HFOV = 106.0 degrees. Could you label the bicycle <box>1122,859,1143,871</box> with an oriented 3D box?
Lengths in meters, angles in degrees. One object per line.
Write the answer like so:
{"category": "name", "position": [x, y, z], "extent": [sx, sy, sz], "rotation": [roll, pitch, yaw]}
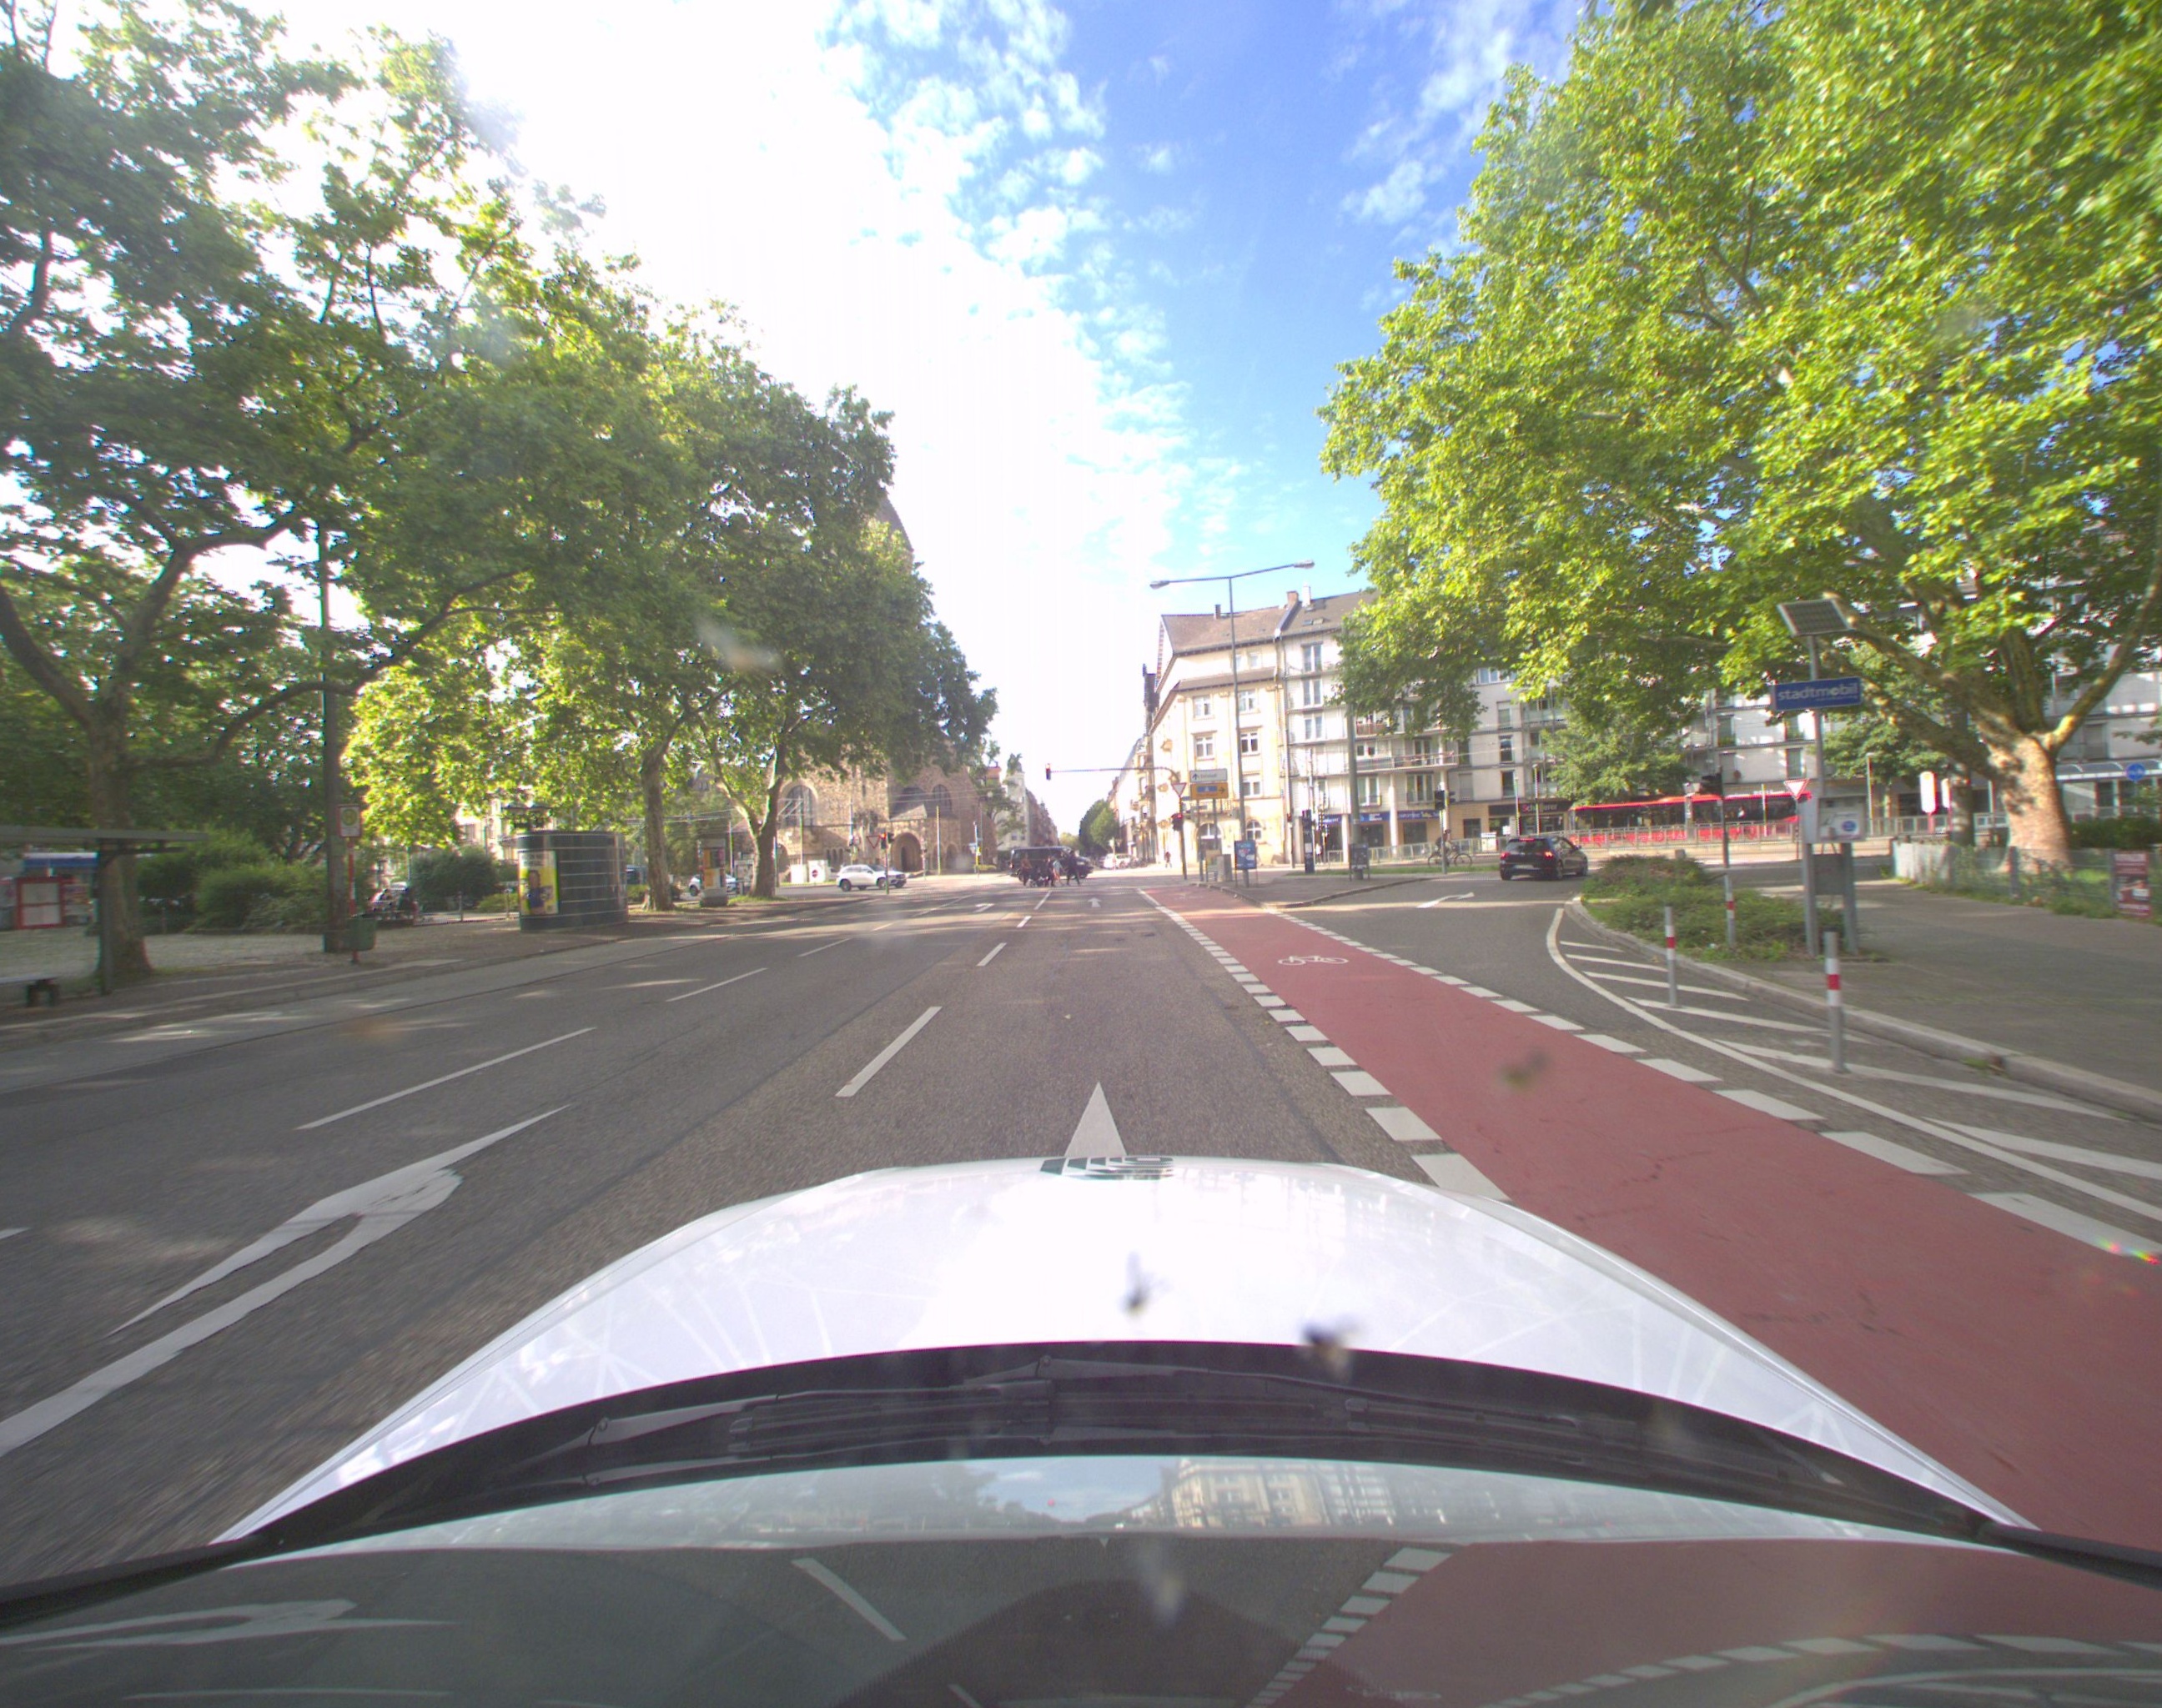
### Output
{"category": "bicycle", "position": [5.199, 1.075, 82.059], "extent": [2.022, 1.082, 0.629], "rotation": [-3, 0, -10]}

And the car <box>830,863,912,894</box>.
{"category": "car", "position": [-13.358, 1.569, 51.870], "extent": [4.666, 1.683, 2.027], "rotation": [-3, 0, 20]}

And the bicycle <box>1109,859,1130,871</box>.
{"category": "bicycle", "position": [3.858, 1.085, 81.315], "extent": [2.022, 1.082, 0.618], "rotation": [-3, 0, -10]}

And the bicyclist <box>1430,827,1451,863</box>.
{"category": "bicyclist", "position": [16.008, -0.394, 36.245], "extent": [0.771, 1.579, 0.629], "rotation": [-3, -1, 26]}

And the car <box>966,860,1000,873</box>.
{"category": "car", "position": [-12.957, 1.639, 107.901], "extent": [4.020, 1.596, 1.847], "rotation": [-3, 0, -39]}

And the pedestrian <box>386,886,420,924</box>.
{"category": "pedestrian", "position": [-23.589, 1.764, 28.334], "extent": [0.724, 1.288, 0.811], "rotation": [0, -1, -25]}

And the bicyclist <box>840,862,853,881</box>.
{"category": "bicyclist", "position": [-21.167, 1.553, 73.551], "extent": [0.716, 1.662, 0.724], "rotation": [-3, 0, 42]}

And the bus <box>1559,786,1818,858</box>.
{"category": "bus", "position": [36.430, -1.835, 49.655], "extent": [12.152, 3.548, 3.046], "rotation": [-3, 0, 23]}

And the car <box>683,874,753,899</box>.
{"category": "car", "position": [-25.467, 2.270, 57.154], "extent": [4.212, 1.479, 1.908], "rotation": [-3, 0, 20]}

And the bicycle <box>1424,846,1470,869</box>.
{"category": "bicycle", "position": [16.243, 0.165, 36.135], "extent": [1.813, 0.955, 0.576], "rotation": [-3, 0, 26]}

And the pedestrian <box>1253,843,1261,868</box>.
{"category": "pedestrian", "position": [14.533, 0.109, 67.192], "extent": [0.520, 2.093, 0.500], "rotation": [-1, -1, 26]}

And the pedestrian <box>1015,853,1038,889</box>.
{"category": "pedestrian", "position": [-2.597, 0.813, 38.588], "extent": [0.807, 1.629, 0.608], "rotation": [-3, 0, 25]}

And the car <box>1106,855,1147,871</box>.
{"category": "car", "position": [4.703, 0.956, 83.737], "extent": [3.978, 1.420, 1.998], "rotation": [-3, 0, -4]}

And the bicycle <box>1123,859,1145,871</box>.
{"category": "bicycle", "position": [5.304, 1.090, 81.387], "extent": [2.022, 1.082, 0.618], "rotation": [-3, 0, -10]}

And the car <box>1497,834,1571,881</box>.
{"category": "car", "position": [15.089, 0.095, 27.028], "extent": [1.734, 1.413, 4.026], "rotation": [-2, 0, 34]}

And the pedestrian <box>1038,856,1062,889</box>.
{"category": "pedestrian", "position": [-1.423, 0.829, 37.212], "extent": [0.774, 1.432, 0.735], "rotation": [-3, 0, 23]}

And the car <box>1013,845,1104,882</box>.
{"category": "car", "position": [-1.292, 0.541, 47.292], "extent": [4.803, 1.871, 2.042], "rotation": [-3, 0, 20]}

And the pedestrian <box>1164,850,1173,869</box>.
{"category": "pedestrian", "position": [7.614, 0.475, 71.090], "extent": [0.557, 1.623, 0.603], "rotation": [-3, 0, 21]}

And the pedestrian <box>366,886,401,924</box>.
{"category": "pedestrian", "position": [-24.527, 1.793, 28.648], "extent": [0.808, 1.288, 0.728], "rotation": [-1, -1, 33]}

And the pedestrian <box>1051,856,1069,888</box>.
{"category": "pedestrian", "position": [-0.966, 0.840, 37.701], "extent": [0.649, 1.432, 0.501], "rotation": [-3, 0, 23]}

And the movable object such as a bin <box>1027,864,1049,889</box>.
{"category": "movable object such as a bin", "position": [-2.031, 1.047, 38.379], "extent": [0.830, 1.123, 0.578], "rotation": [-3, 0, 23]}

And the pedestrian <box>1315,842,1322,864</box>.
{"category": "pedestrian", "position": [18.832, -0.050, 64.616], "extent": [0.491, 1.714, 0.530], "rotation": [-1, -1, 24]}

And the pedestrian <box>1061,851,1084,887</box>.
{"category": "pedestrian", "position": [-0.408, 0.712, 38.332], "extent": [0.774, 1.662, 0.783], "rotation": [-3, 0, 23]}
